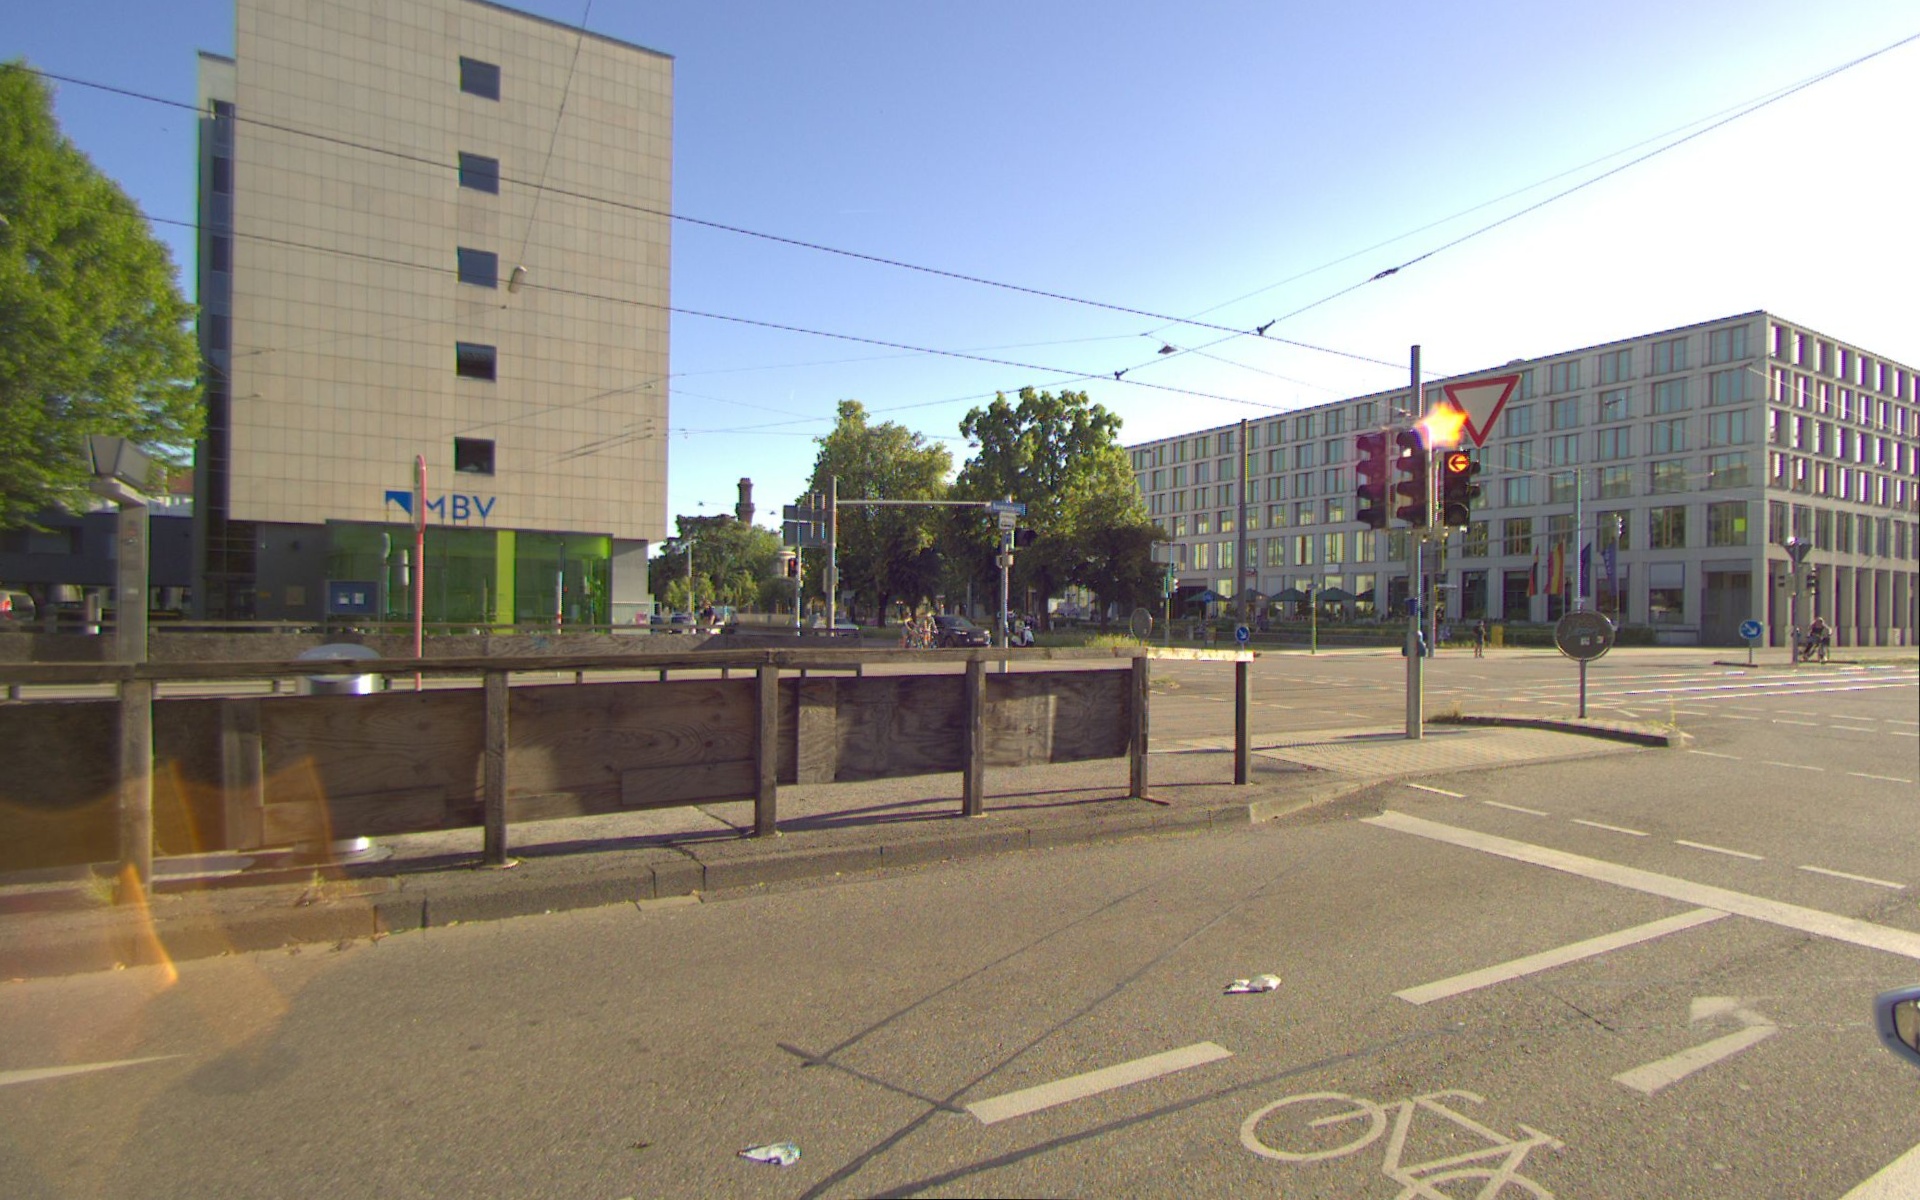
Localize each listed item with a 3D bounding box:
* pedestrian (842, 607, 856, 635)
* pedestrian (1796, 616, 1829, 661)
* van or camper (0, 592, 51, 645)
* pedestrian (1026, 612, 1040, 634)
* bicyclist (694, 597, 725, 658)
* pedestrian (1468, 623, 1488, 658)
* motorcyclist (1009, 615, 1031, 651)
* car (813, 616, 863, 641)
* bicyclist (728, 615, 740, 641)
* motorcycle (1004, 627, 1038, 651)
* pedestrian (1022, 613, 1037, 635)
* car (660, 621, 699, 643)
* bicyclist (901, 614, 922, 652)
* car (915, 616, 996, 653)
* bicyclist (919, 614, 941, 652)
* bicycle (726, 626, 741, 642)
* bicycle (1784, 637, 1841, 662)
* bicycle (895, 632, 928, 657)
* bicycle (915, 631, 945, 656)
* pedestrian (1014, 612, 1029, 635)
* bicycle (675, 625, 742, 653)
[{"bbox_3d":[-8.159,1.552,74.131,0.772,2.040,0.747,1,-1,-31],"label":"pedestrian"},{"bbox_3d":[30.935,1.391,36.451,0.562,1.616,0.744,1,-1,-3],"label":"pedestrian"},{"bbox_3d":[-27.894,0.427,27.560,3.954,1.425,1.954,4,-3,-30],"label":"van or camper"},{"bbox_3d":[6.009,1.867,82.493,0.858,1.738,0.737,2,0,-26],"label":"pedestrian"},{"bbox_3d":[-7.374,0.802,29.557,0.762,1.784,0.532,1,-1,-30],"label":"bicyclist"},{"bbox_3d":[25.120,1.971,48.698,0.597,1.703,0.602,1,-1,-22],"label":"pedestrian"},{"bbox_3d":[2.801,1.536,46.980,0.624,1.601,0.812,-3,1,-28],"label":"motorcyclist"},{"bbox_3d":[-8.160,1.899,66.835,1.975,1.472,4.179,2,0,-28],"label":"car"},{"bbox_3d":[-14.367,1.767,63.834,0.576,1.658,0.890,1,-1,-27],"label":"bicyclist"},{"bbox_3d":[2.842,1.818,46.949,0.624,1.030,1.972,-3,1,-28],"label":"motorcycle"},{"bbox_3d":[5.527,1.886,80.036,0.858,1.738,0.737,2,0,-26],"label":"pedestrian"},{"bbox_3d":[-21.078,2.401,75.422,1.975,1.472,4.179,2,0,-28],"label":"car"},{"bbox_3d":[-2.038,1.365,42.010,0.577,1.563,0.833,1,-2,-32],"label":"bicyclist"},{"bbox_3d":[-0.253,1.504,44.584,1.925,1.561,3.969,2,-2,-29],"label":"car"},{"bbox_3d":[-1.279,1.385,42.410,0.576,1.563,0.890,1,-1,-27],"label":"bicyclist"},{"bbox_3d":[-14.399,2.156,63.875,0.576,1.032,1.666,1,-1,-27],"label":"bicycle"},{"bbox_3d":[30.935,1.787,36.458,0.562,0.834,1.718,1,-1,-2],"label":"bicycle"},{"bbox_3d":[-2.044,1.843,42.013,0.577,1.032,1.806,1,-3,-31],"label":"bicycle"},{"bbox_3d":[-1.272,1.825,42.374,0.576,1.032,1.666,1,-1,-27],"label":"bicycle"},{"bbox_3d":[4.852,1.862,79.315,0.858,1.738,0.737,2,0,-26],"label":"pedestrian"},{"bbox_3d":[-7.396,1.137,29.550,1.831,0.798,0.532,1,-1,-30],"label":"bicycle"}]
